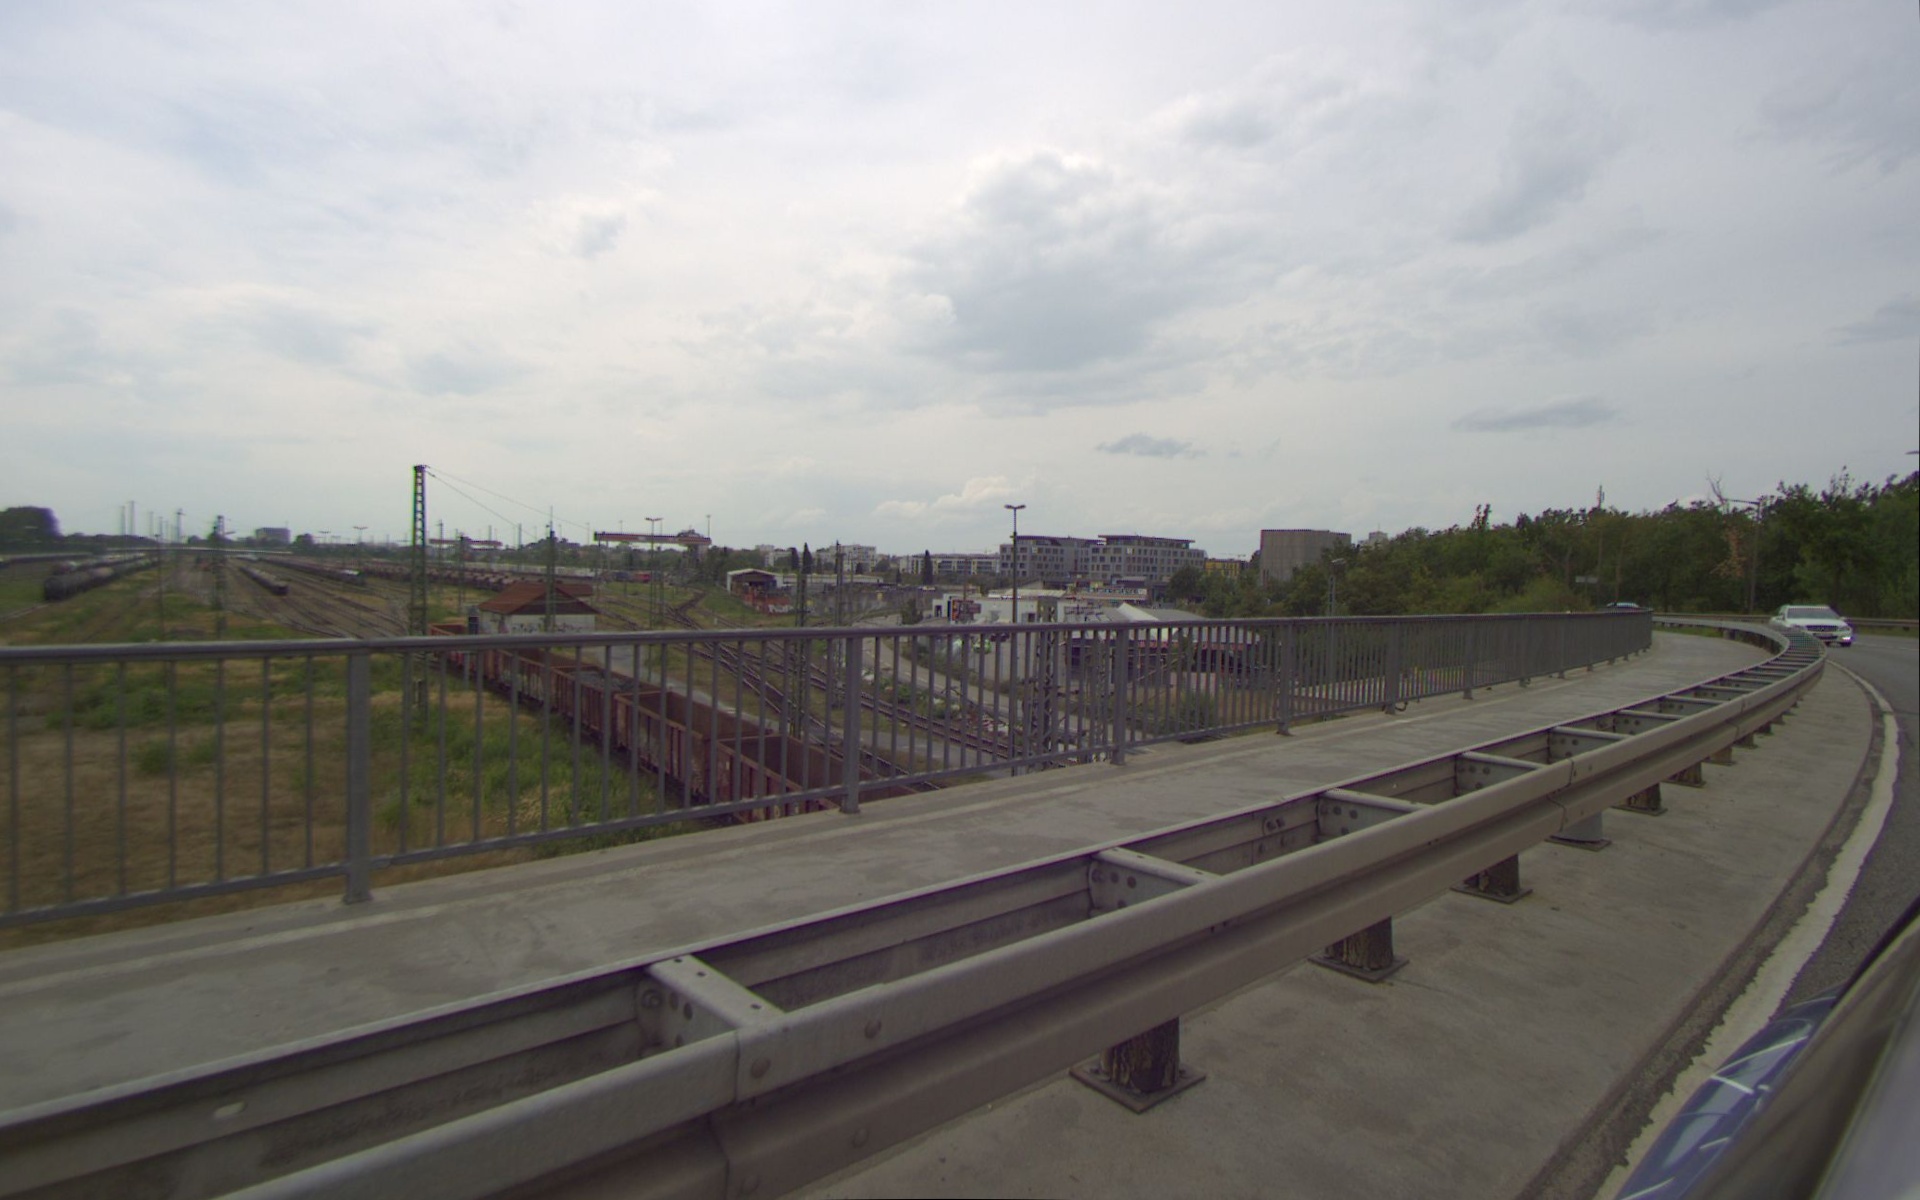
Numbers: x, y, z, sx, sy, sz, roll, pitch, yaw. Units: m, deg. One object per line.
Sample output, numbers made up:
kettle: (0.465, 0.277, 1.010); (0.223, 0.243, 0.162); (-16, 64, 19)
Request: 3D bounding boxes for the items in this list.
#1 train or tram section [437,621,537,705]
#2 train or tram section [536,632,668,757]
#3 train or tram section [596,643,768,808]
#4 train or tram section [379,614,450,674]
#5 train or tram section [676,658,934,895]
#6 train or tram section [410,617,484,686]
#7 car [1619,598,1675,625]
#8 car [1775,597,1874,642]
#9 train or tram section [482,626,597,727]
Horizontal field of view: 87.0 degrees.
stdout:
train or tram section: (-39.218, 4.826, 83.266); (3.887, 5.713, 18.269); (-1, 1, -36)
train or tram section: (-20.851, 4.996, 58.137); (3.770, 5.749, 13.912); (-1, 1, -34)
train or tram section: (-13.141, 5.175, 46.278); (3.587, 5.669, 14.266); (-1, 1, -32)
train or tram section: (-61.563, 4.568, 113.663); (3.918, 5.549, 25.689); (-1, 1, -35)
train or tram section: (-5.922, 5.269, 34.710); (3.581, 5.644, 13.659); (-1, 1, -32)
train or tram section: (-49.318, 4.673, 96.971); (3.734, 5.695, 15.557); (-1, 1, -37)
car: (45.414, 0.772, 67.000); (1.938, 1.726, 4.404); (0, -1, 19)
car: (30.507, 0.652, 35.832); (1.922, 1.475, 3.845); (0, 0, 30)
train or tram section: (-29.328, 4.902, 69.904); (3.903, 5.748, 15.011); (-1, 1, -36)
